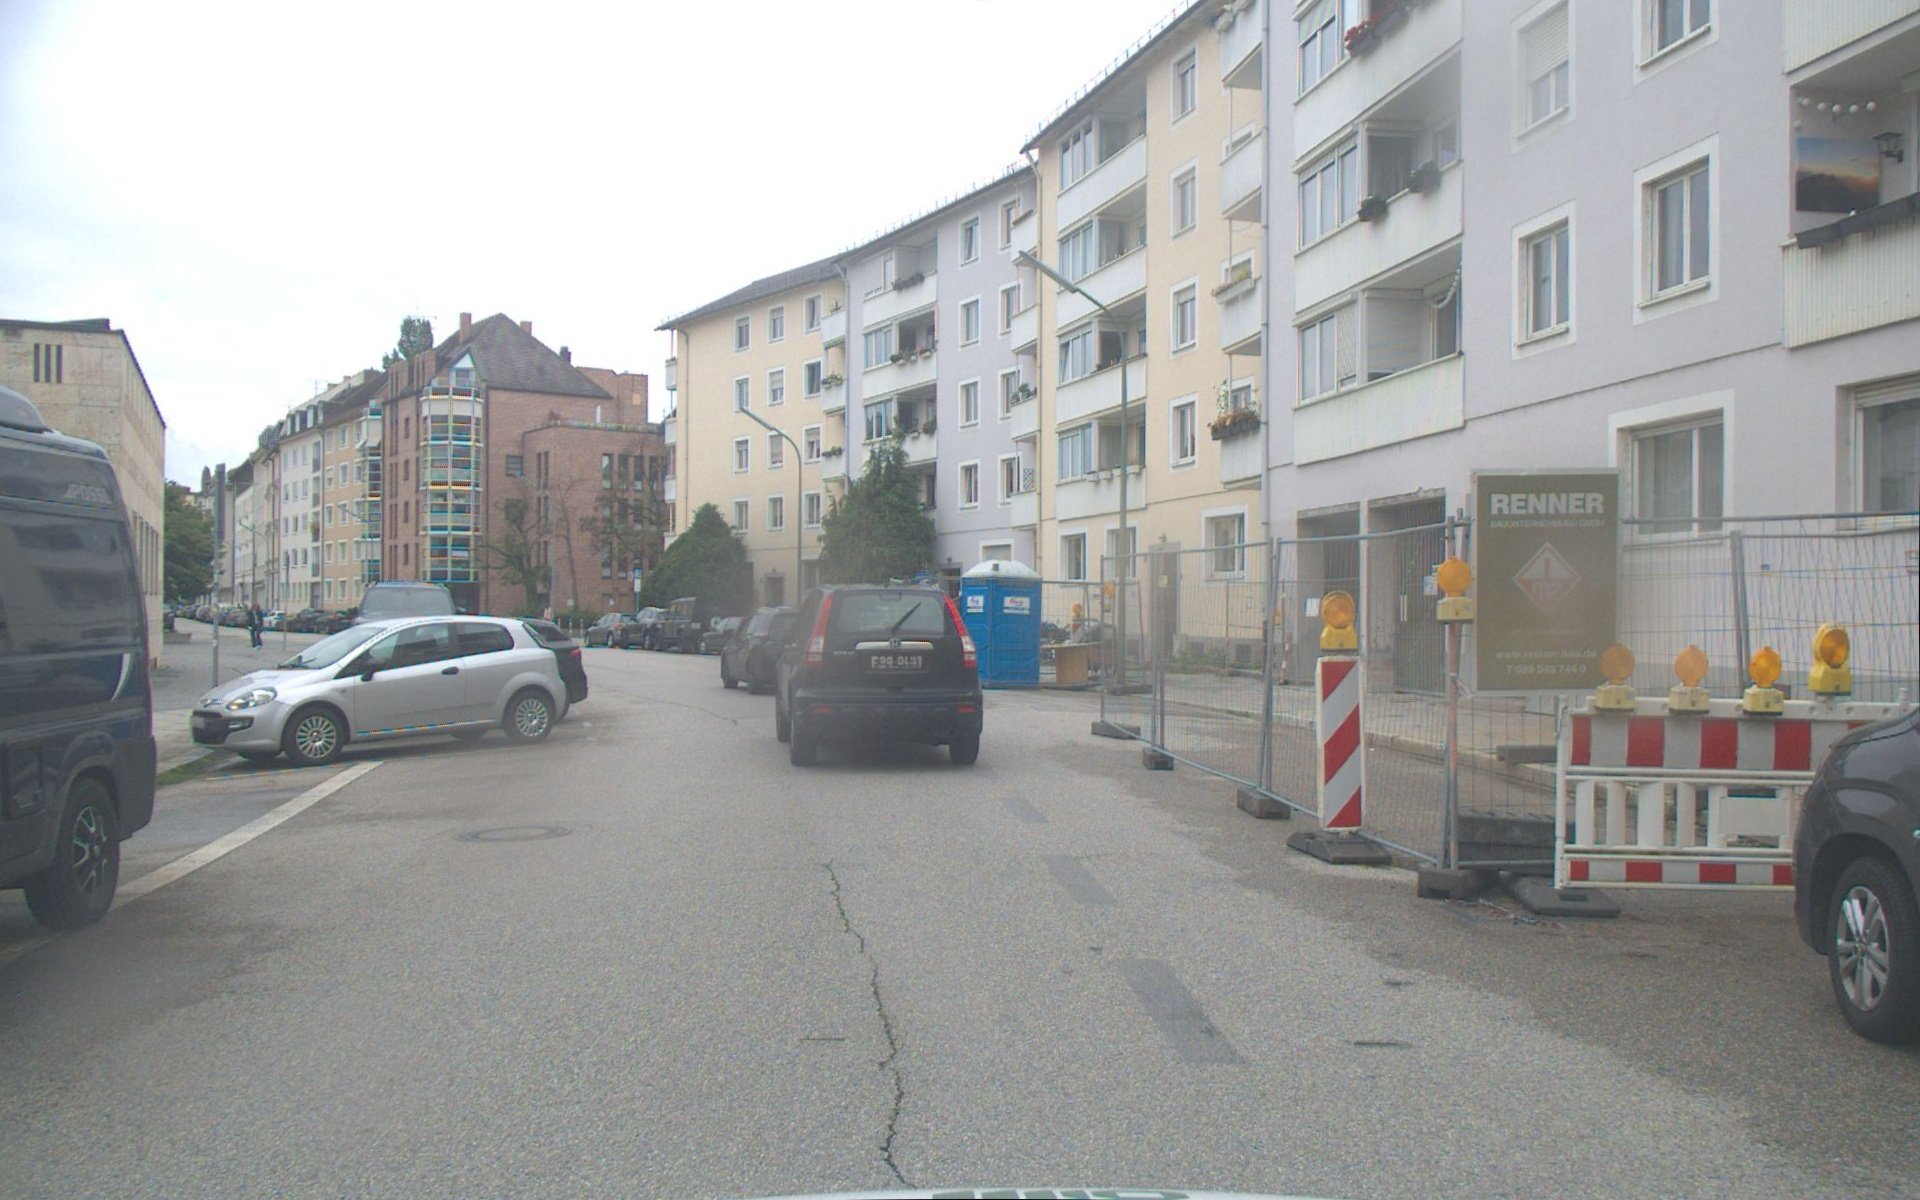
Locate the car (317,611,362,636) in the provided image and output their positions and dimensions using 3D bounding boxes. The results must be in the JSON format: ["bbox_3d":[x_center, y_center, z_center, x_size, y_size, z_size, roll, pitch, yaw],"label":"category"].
[{"bbox_3d":[-40.688,1.525,108.421,1.793,1.498,4.065,1,0,-36],"label":"car"}]

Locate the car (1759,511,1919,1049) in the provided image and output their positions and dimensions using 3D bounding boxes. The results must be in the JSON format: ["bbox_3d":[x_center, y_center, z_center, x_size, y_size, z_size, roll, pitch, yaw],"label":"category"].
[{"bbox_3d":[4.196,0.636,4.609,1.742,1.838,4.274,2,0,-2],"label":"car"}]

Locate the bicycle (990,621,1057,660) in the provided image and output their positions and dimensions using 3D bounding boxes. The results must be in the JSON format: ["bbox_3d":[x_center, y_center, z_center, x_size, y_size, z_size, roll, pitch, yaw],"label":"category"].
[{"bbox_3d":[1.851,1.185,48.210,1.835,1.110,0.643,1,-1,-16],"label":"bicycle"}]

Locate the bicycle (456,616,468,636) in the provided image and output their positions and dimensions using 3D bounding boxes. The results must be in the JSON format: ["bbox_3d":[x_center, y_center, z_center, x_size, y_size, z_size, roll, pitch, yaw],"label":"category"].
[{"bbox_3d":[-32.740,1.720,108.731,0.544,1.311,1.747,1,0,-23],"label":"bicycle"}]

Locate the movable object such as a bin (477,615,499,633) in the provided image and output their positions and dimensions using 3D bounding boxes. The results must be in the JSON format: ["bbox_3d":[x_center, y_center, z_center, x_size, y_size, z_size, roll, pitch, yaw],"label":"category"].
[{"bbox_3d":[-29.537,1.489,103.522,0.954,1.104,1.968,1,0,-26],"label":"movable object such as a bin"}]

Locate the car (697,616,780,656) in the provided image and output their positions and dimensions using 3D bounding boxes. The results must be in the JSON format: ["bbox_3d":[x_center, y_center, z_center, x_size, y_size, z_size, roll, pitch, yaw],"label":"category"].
[{"bbox_3d":[-7.502,1.197,55.725,1.677,1.258,3.570,1,0,-27],"label":"car"}]

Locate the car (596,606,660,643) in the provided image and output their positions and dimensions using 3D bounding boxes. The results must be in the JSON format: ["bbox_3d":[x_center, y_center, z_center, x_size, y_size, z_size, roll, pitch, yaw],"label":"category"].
[{"bbox_3d":[-13.599,0.993,67.638,1.677,1.413,3.570,1,0,-27],"label":"car"}]

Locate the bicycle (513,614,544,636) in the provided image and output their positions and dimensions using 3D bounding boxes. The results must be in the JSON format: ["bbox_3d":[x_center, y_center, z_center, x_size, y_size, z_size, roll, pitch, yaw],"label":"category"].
[{"bbox_3d":[-25.642,1.495,98.239,1.731,1.311,0.549,1,-1,-25],"label":"bicycle"}]

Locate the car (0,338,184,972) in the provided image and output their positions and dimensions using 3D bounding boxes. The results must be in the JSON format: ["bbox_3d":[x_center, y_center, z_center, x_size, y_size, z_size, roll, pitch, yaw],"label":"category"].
[{"bbox_3d":[-5.027,0.246,6.112,2.123,2.688,6.007,-1,0,-7],"label":"car"}]

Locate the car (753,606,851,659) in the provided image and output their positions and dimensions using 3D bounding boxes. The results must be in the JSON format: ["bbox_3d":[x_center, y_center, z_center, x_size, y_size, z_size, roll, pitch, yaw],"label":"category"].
[{"bbox_3d":[-4.945,0.989,51.326,1.704,1.509,3.965,1,0,-27],"label":"car"}]

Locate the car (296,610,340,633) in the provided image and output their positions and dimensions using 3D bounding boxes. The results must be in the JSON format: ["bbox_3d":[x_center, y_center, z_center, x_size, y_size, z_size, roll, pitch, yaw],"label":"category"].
[{"bbox_3d":[-43.460,1.460,111.920,1.793,1.498,4.065,1,0,-36],"label":"car"}]

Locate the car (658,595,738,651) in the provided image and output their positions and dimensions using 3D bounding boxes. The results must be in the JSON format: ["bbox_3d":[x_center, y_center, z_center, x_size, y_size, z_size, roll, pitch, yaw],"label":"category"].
[{"bbox_3d":[-9.519,0.807,59.785,1.704,1.911,3.965,1,0,-27],"label":"car"}]

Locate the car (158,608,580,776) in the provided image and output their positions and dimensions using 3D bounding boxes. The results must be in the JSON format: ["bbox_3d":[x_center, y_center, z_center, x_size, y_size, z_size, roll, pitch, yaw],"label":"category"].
[{"bbox_3d":[-6.467,0.972,18.386,4.056,1.507,1.657,-3,-2,-45],"label":"car"}]

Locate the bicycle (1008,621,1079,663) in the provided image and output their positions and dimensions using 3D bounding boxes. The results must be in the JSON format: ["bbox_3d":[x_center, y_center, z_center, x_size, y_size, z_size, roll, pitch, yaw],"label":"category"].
[{"bbox_3d":[2.245,1.137,44.516,1.835,1.110,0.563,1,-1,-16],"label":"bicycle"}]

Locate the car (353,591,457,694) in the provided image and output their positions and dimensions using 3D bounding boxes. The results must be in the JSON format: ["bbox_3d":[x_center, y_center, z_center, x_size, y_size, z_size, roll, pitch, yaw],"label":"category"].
[{"bbox_3d":[-10.149,0.728,30.129,1.654,1.737,4.486,1,0,-20],"label":"car"}]

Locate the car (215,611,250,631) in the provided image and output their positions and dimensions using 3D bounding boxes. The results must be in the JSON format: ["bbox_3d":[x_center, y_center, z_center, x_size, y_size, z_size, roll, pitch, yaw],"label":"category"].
[{"bbox_3d":[-58.308,1.648,132.492,1.793,1.498,4.065,1,0,-36],"label":"car"}]

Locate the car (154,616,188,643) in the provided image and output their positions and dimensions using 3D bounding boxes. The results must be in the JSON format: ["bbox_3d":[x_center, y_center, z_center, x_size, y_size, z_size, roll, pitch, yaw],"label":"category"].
[{"bbox_3d":[-52.843,1.955,110.712,1.895,1.777,4.734,1,0,-28],"label":"car"}]

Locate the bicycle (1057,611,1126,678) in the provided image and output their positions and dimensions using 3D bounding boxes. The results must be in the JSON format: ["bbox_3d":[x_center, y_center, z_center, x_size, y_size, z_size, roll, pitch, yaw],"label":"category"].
[{"bbox_3d":[2.884,0.959,36.693,0.950,1.413,2.558,1,0,-9],"label":"bicycle"}]

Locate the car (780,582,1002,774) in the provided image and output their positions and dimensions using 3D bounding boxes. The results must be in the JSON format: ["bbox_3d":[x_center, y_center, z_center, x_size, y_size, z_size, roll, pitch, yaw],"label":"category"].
[{"bbox_3d":[-0.811,0.692,16.513,1.855,1.676,3.984,0,0,-8],"label":"car"}]

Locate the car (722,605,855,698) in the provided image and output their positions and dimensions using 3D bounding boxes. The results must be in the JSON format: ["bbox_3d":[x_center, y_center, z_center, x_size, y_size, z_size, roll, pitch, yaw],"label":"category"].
[{"bbox_3d":[-3.105,0.856,29.231,1.652,1.507,4.068,0,0,-16],"label":"car"}]

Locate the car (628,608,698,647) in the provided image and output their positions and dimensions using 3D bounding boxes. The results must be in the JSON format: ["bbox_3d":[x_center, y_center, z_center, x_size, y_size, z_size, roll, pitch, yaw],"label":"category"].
[{"bbox_3d":[-11.487,1.036,63.780,1.677,1.413,3.570,1,0,-27],"label":"car"}]

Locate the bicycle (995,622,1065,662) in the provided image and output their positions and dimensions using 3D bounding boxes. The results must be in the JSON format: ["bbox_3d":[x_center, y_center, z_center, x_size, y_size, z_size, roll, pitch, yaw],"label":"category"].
[{"bbox_3d":[1.949,1.176,46.160,1.835,1.110,0.643,1,-1,-16],"label":"bicycle"}]

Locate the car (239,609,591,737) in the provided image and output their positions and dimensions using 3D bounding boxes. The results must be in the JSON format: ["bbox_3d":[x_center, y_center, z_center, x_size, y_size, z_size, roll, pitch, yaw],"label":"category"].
[{"bbox_3d":[-7.016,0.883,21.532,4.053,1.507,1.658,1,-1,-43],"label":"car"}]

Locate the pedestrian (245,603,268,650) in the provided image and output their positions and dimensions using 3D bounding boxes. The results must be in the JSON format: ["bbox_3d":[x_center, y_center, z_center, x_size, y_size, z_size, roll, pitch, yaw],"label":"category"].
[{"bbox_3d":[-26.209,0.988,61.622,0.740,1.733,0.921,1,-1,-22],"label":"pedestrian"}]
